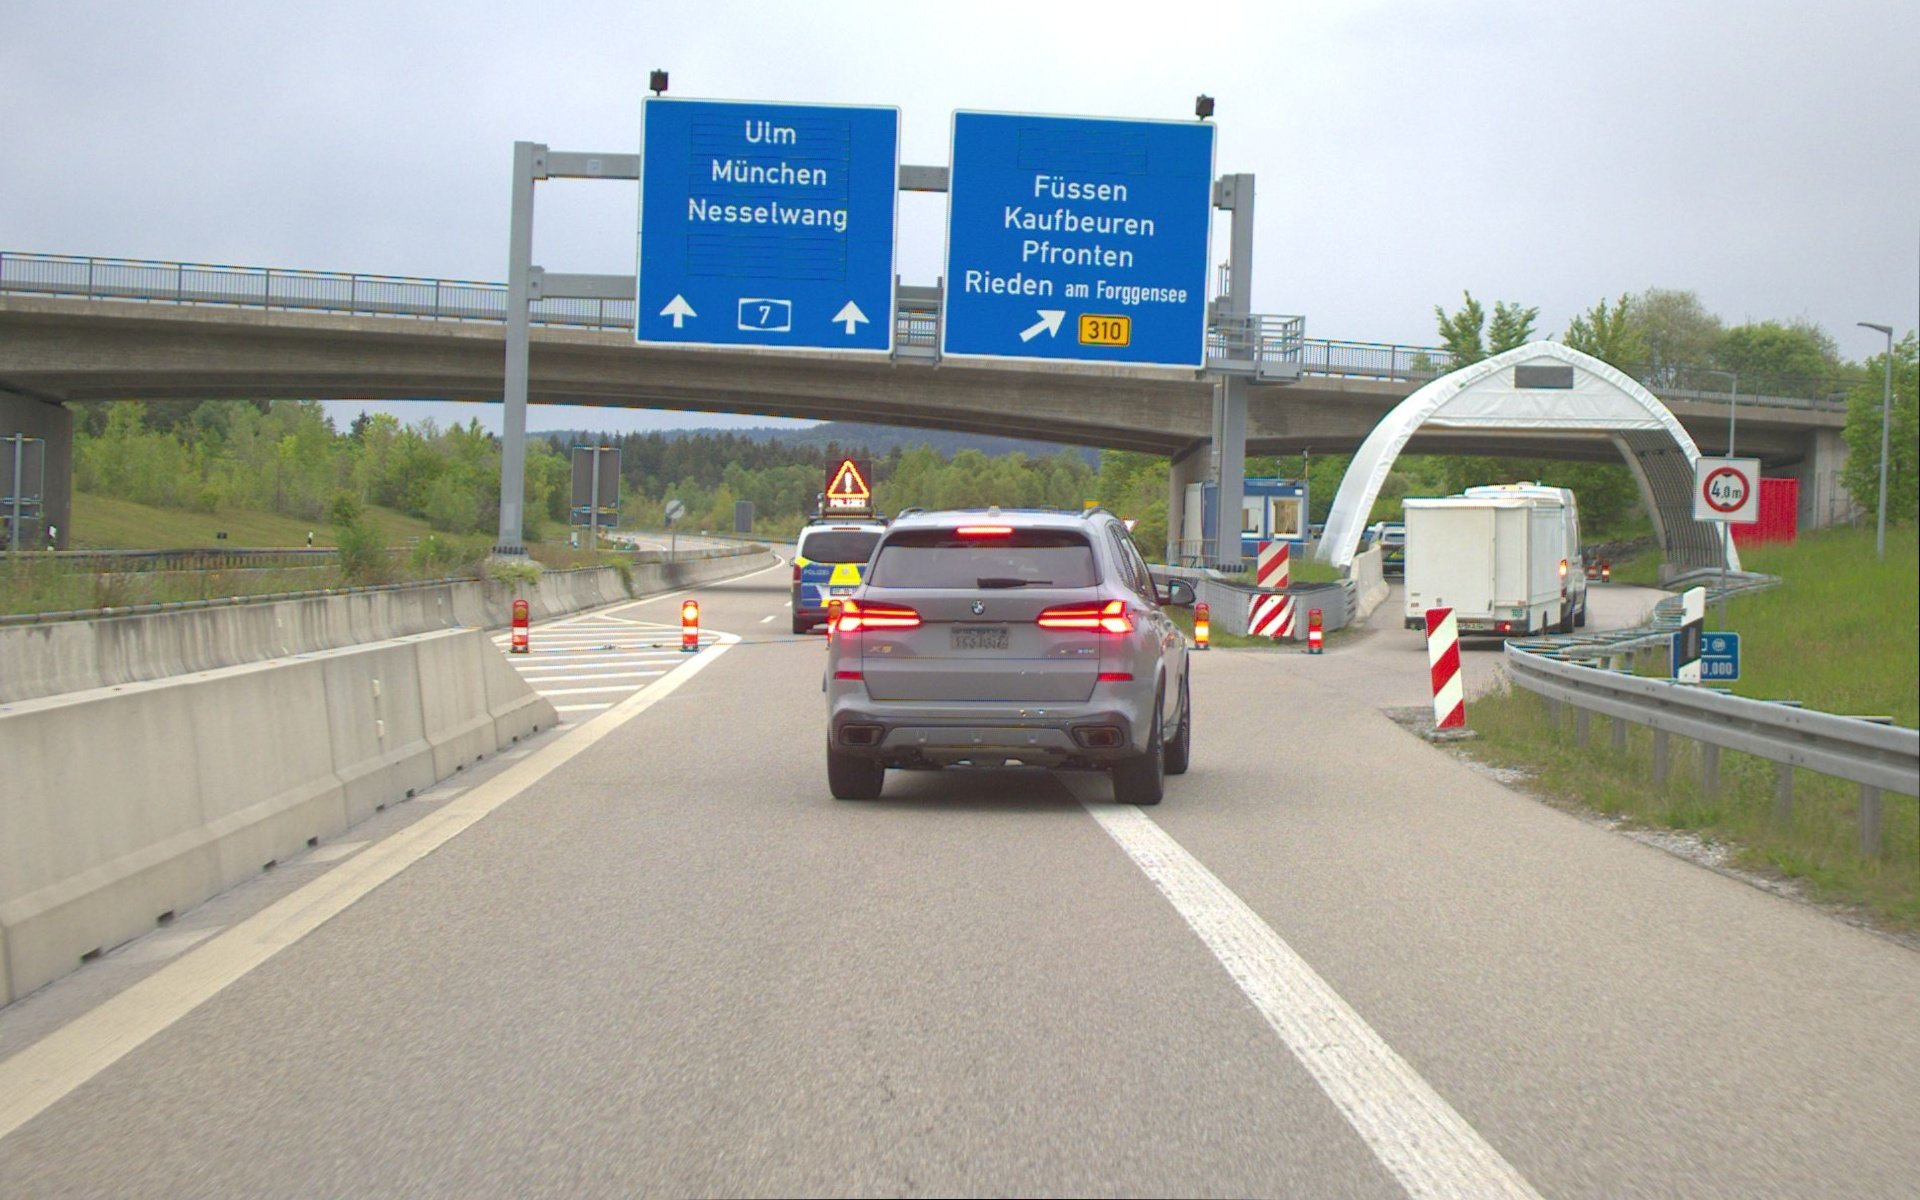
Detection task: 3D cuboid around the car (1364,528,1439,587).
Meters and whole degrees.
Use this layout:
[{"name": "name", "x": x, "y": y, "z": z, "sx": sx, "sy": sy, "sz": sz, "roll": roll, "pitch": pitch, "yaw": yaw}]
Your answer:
[{"name": "car", "x": 13.545, "y": -1.314, "z": 105.698, "sx": 1.994, "sy": 1.766, "sz": 3.765, "roll": 0, "pitch": 1, "yaw": 3}]

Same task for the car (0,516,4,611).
[{"name": "car", "x": -15.734, "y": -0.559, "z": 51.912, "sx": 1.607, "sy": 1.495, "sz": 3.838, "roll": 1, "pitch": 1, "yaw": -2}]

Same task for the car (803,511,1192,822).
[{"name": "car", "x": 0.339, "y": 0.336, "z": 21.305, "sx": 1.994, "sy": 1.713, "sz": 3.999, "roll": 1, "pitch": 1, "yaw": 6}]

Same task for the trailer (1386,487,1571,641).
[{"name": "trailer", "x": 8.807, "y": -0.597, "z": 57.873, "sx": 2.280, "sy": 2.422, "sz": 6.812, "roll": 1, "pitch": 1, "yaw": 15}]

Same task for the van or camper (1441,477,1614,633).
[{"name": "van or camper", "x": 10.624, "y": -0.821, "z": 64.029, "sx": 2.159, "sy": 2.754, "sz": 5.865, "roll": 1, "pitch": 1, "yaw": 19}]

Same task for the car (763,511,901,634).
[{"name": "car", "x": -2.244, "y": -0.529, "z": 59.903, "sx": 2.286, "sy": 2.006, "sz": 5.051, "roll": 1, "pitch": 2, "yaw": -2}]
